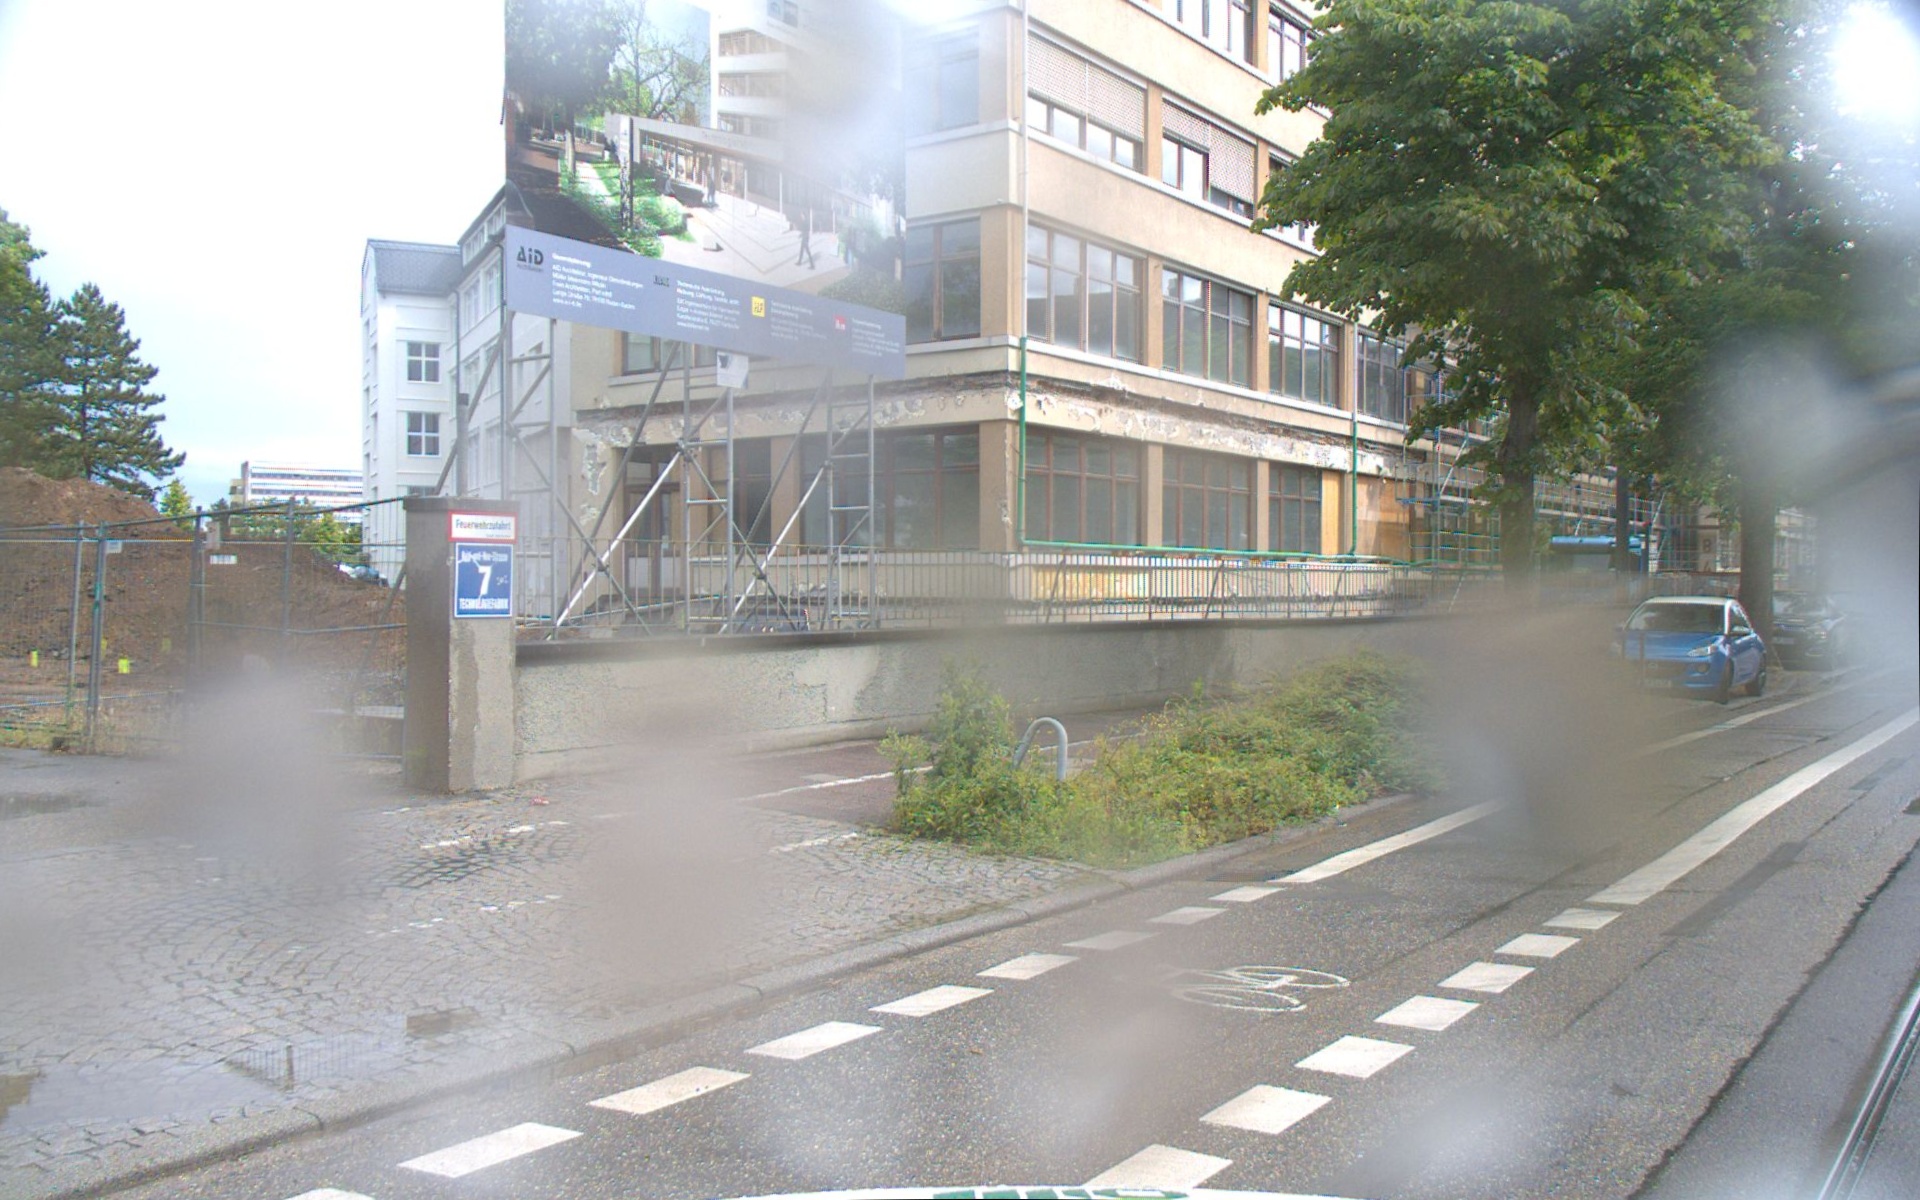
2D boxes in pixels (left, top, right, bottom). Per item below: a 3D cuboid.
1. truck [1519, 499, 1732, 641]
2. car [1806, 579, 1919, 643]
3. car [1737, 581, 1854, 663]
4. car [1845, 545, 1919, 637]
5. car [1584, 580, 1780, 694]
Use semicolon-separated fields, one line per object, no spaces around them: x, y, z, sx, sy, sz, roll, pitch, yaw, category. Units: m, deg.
19.062;-0.775;46.886;3.179;3.588;9.871;2;1;36;truck
22.930;0.250;41.893;1.785;1.496;4.050;3;2;40;car
17.042;0.416;33.660;1.849;1.496;3.992;2;1;30;car
28.013;-0.234;48.977;2.543;2.517;6.134;2;1;33;car
10.878;0.511;24.782;1.853;1.496;3.984;3;1;36;car
